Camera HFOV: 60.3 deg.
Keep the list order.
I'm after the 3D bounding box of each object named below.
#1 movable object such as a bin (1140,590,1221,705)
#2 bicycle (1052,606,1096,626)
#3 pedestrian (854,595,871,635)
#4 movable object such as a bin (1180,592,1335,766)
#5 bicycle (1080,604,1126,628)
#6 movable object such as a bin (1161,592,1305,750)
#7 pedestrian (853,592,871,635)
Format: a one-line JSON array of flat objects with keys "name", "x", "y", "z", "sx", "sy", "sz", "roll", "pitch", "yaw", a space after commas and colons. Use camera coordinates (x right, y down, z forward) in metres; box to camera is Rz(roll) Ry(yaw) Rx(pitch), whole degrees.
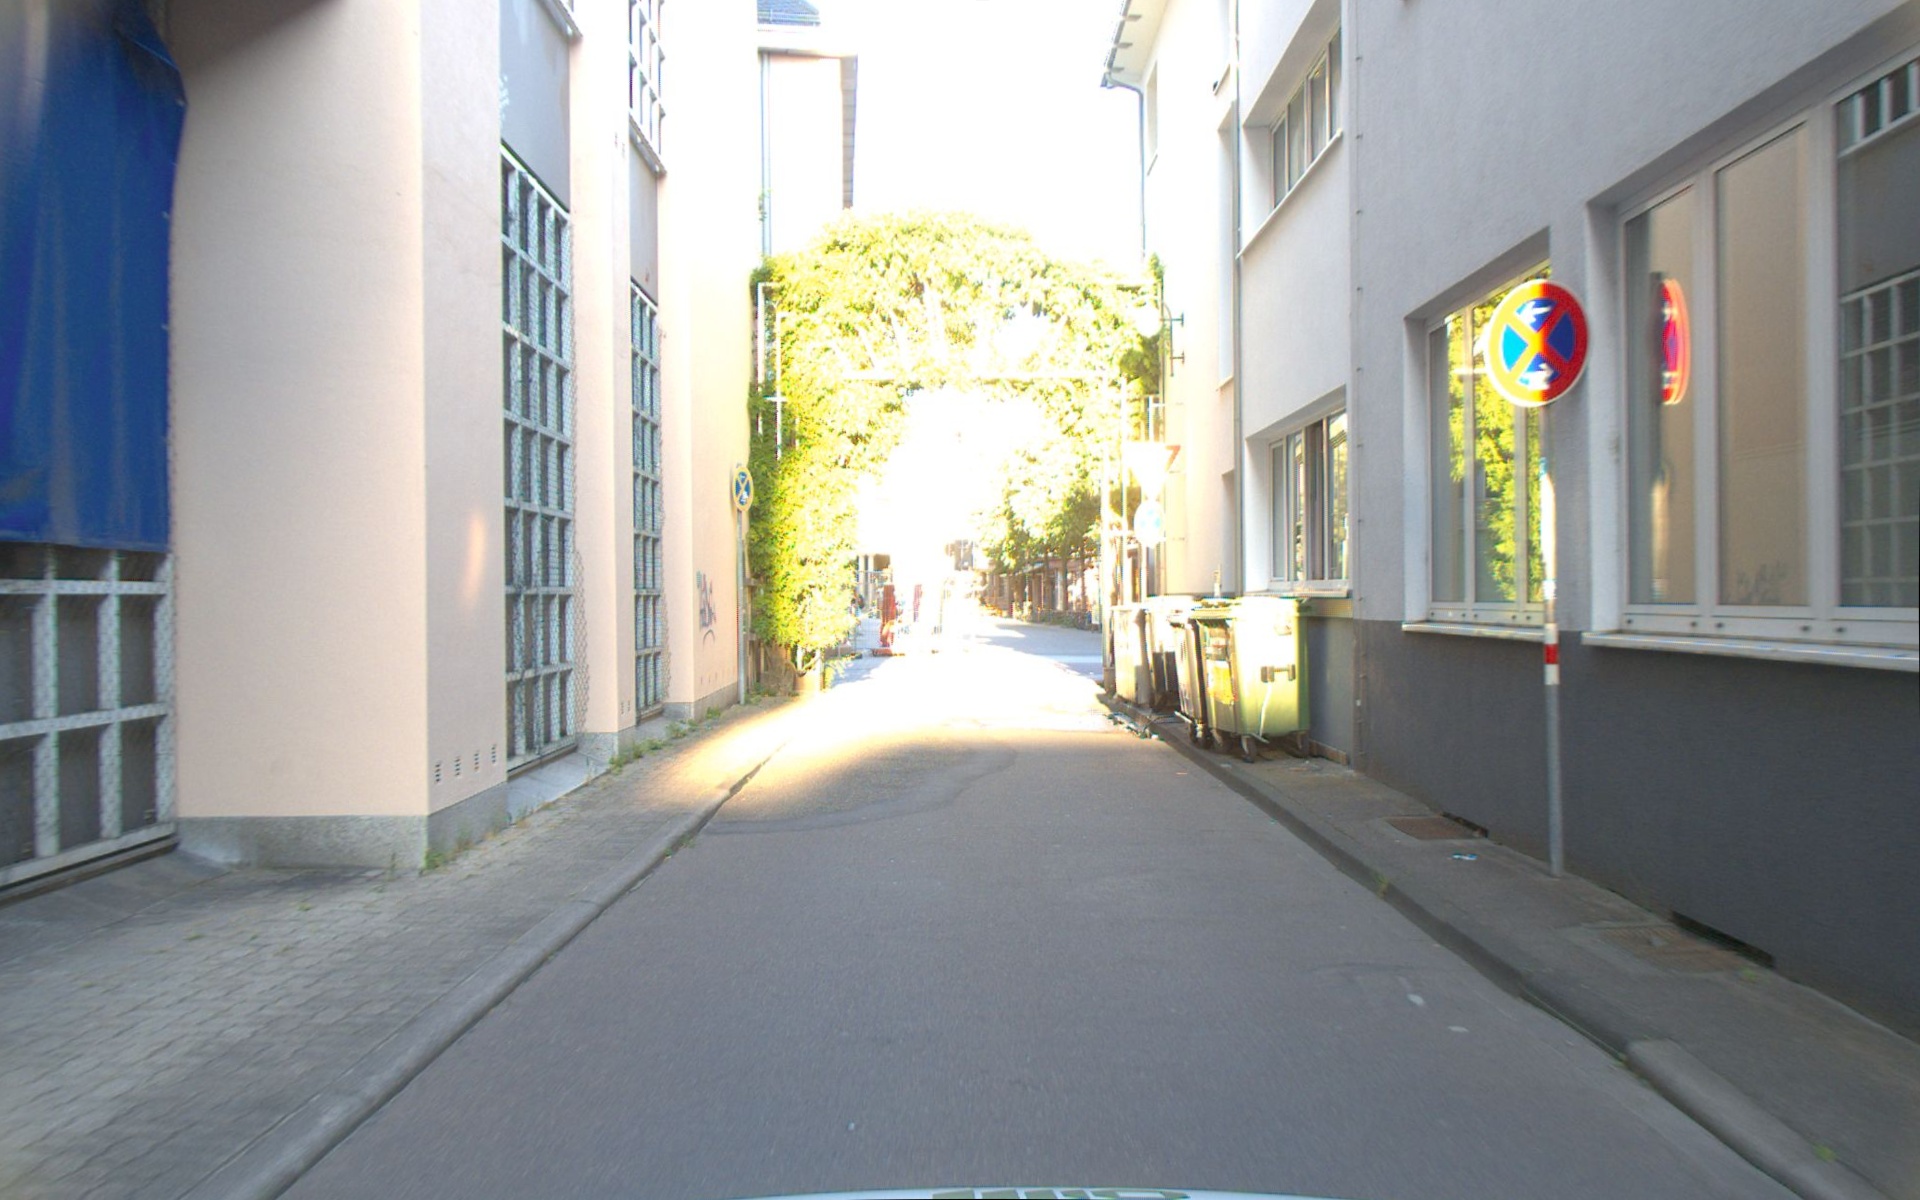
[{"name": "movable object such as a bin", "x": 2.706, "y": 0.566, "z": 20.414, "sx": 0.818, "sy": 1.327, "sz": 1.290, "roll": -3, "pitch": 0, "yaw": 3}, {"name": "bicycle", "x": 5.772, "y": 0.825, "z": 83.467, "sx": 2.113, "sy": 0.942, "sz": 0.589, "roll": -1, "pitch": -1, "yaw": -9}, {"name": "pedestrian", "x": -4.208, "y": 0.642, "z": 71.433, "sx": 0.640, "sy": 1.680, "sz": 0.634, "roll": -1, "pitch": 0, "yaw": 3}, {"name": "movable object such as a bin", "x": 2.557, "y": 0.652, "z": 14.356, "sx": 0.919, "sy": 1.390, "sz": 1.340, "roll": -3, "pitch": 0, "yaw": -7}, {"name": "bicycle", "x": 6.941, "y": 0.788, "z": 80.306, "sx": 2.107, "sy": 1.080, "sz": 0.591, "roll": -2, "pitch": -1, "yaw": 12}, {"name": "movable object such as a bin", "x": 2.573, "y": 0.646, "z": 15.762, "sx": 1.043, "sy": 1.390, "sz": 1.341, "roll": -3, "pitch": 0, "yaw": -3}, {"name": "pedestrian", "x": -4.193, "y": 0.574, "z": 70.785, "sx": 0.640, "sy": 1.795, "sz": 0.634, "roll": -1, "pitch": 0, "yaw": 3}]
